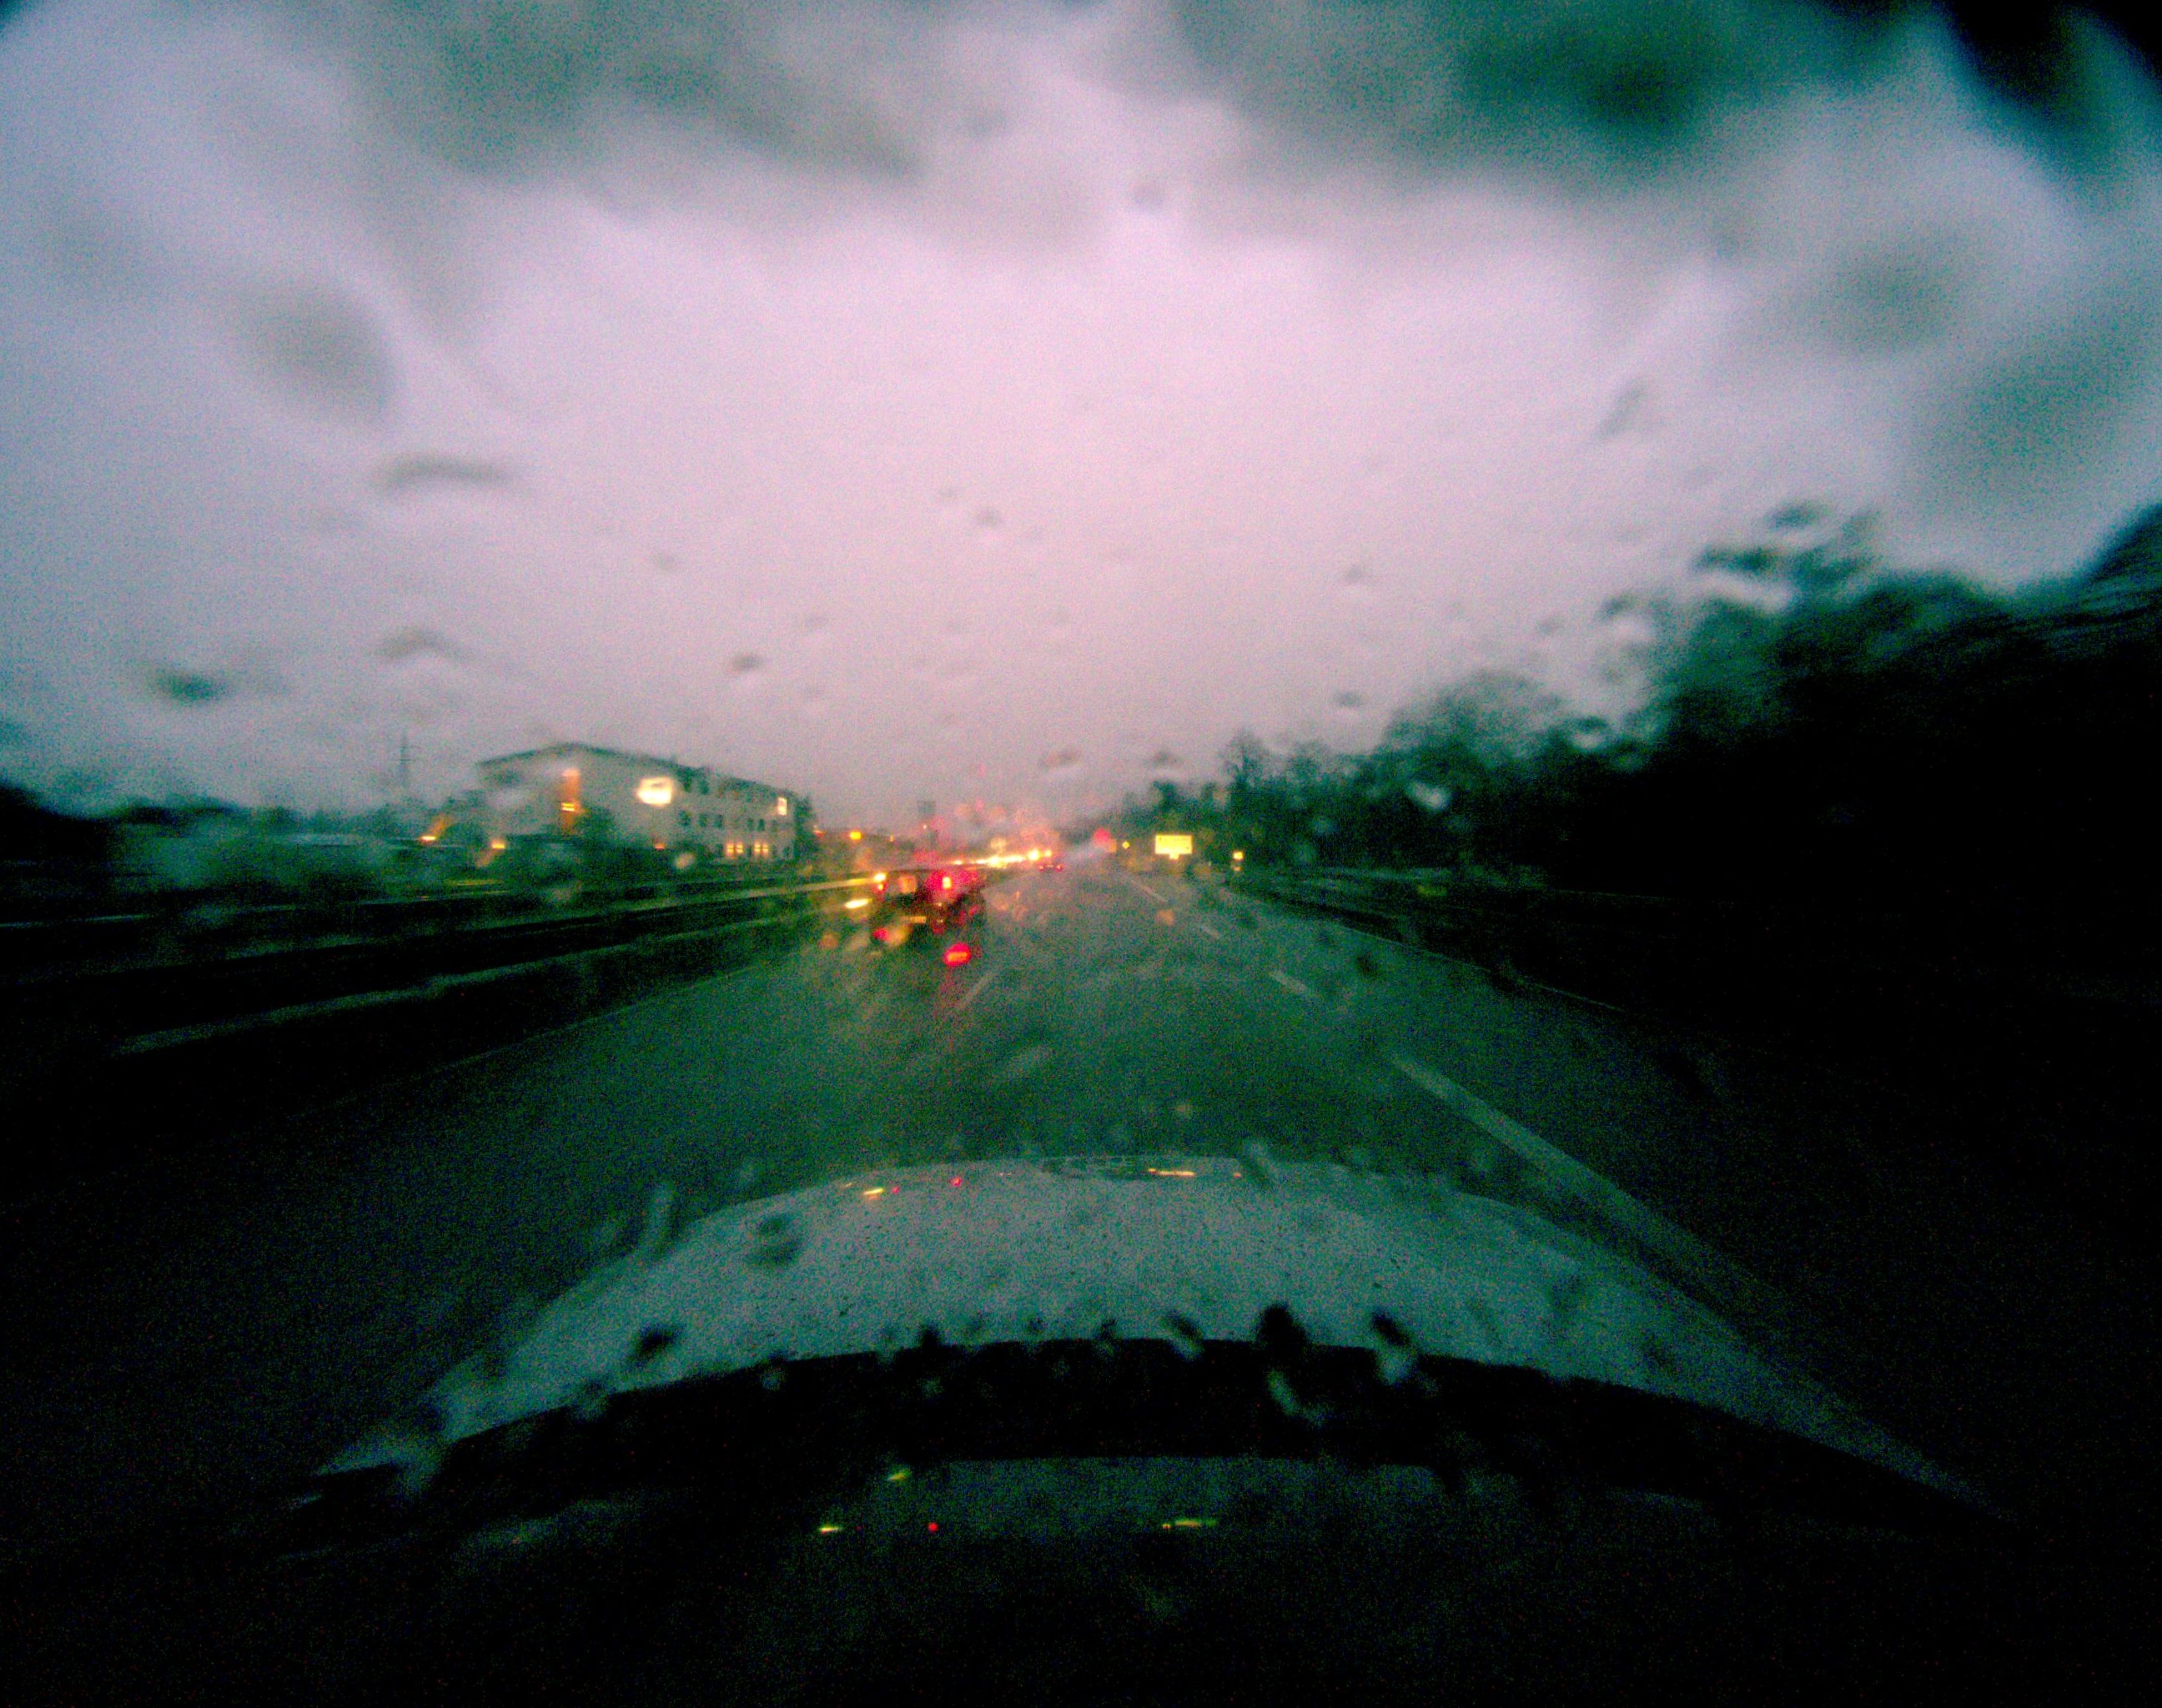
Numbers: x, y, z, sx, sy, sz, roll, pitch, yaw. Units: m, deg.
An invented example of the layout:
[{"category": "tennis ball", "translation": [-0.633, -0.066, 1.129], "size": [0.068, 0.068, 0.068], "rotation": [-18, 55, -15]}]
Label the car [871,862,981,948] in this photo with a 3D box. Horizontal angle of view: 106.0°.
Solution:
[{"category": "car", "translation": [-2.961, 0.931, 16.183], "size": [1.523, 1.415, 3.477], "rotation": [2, 0, -1]}]

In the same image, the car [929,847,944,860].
[{"category": "car", "translation": [-20.979, -0.086, 118.410], "size": [1.889, 1.821, 3.864], "rotation": [2, 0, -7]}]

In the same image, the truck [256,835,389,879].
[{"category": "truck", "translation": [-46.231, 0.134, 49.924], "size": [1.989, 2.454, 6.793], "rotation": [2, 0, -3]}]

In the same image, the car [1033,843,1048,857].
[{"category": "car", "translation": [-6.279, -0.594, 127.191], "size": [2.120, 2.120, 3.569], "rotation": [1, 1, -5]}]

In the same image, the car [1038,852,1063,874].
[{"category": "car", "translation": [-2.304, 0.643, 62.046], "size": [1.771, 1.534, 4.699], "rotation": [-1, 0, -2]}]

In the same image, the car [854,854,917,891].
[{"category": "car", "translation": [-9.166, 0.845, 38.542], "size": [1.871, 1.580, 4.480], "rotation": [-1, 0, 0]}]
